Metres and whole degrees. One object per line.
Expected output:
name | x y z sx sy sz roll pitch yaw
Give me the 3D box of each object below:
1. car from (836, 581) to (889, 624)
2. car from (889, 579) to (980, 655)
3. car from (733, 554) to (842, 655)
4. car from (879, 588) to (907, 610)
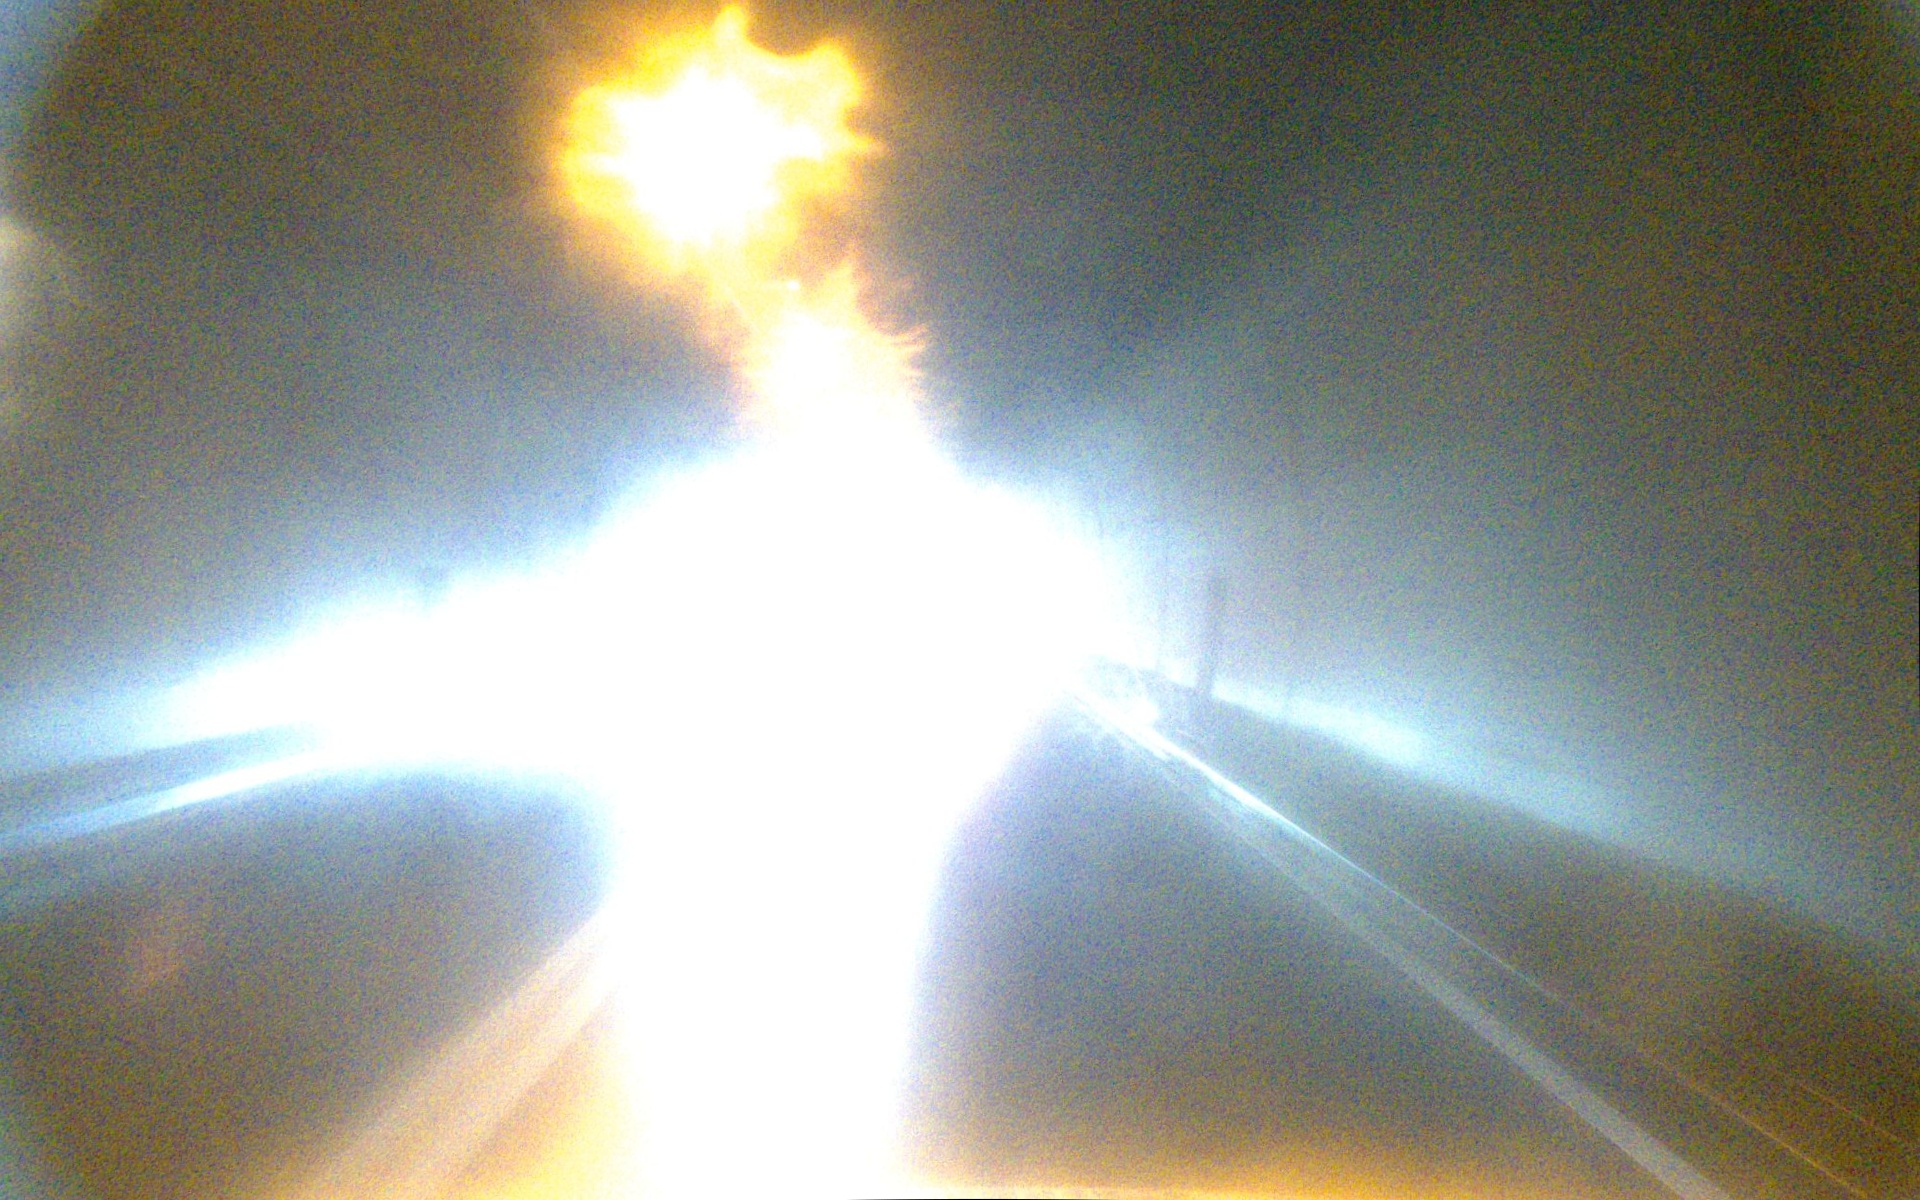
car | -3.954 0.102 67.383 1.953 1.680 3.999 1 0 -1
car | -0.597 0.368 39.201 2.047 1.691 3.999 1 0 -1
car | -3.644 0.079 35.537 1.953 2.049 3.999 1 0 -1
car | -3.833 -0.058 95.180 1.520 1.266 3.999 0 0 -1
